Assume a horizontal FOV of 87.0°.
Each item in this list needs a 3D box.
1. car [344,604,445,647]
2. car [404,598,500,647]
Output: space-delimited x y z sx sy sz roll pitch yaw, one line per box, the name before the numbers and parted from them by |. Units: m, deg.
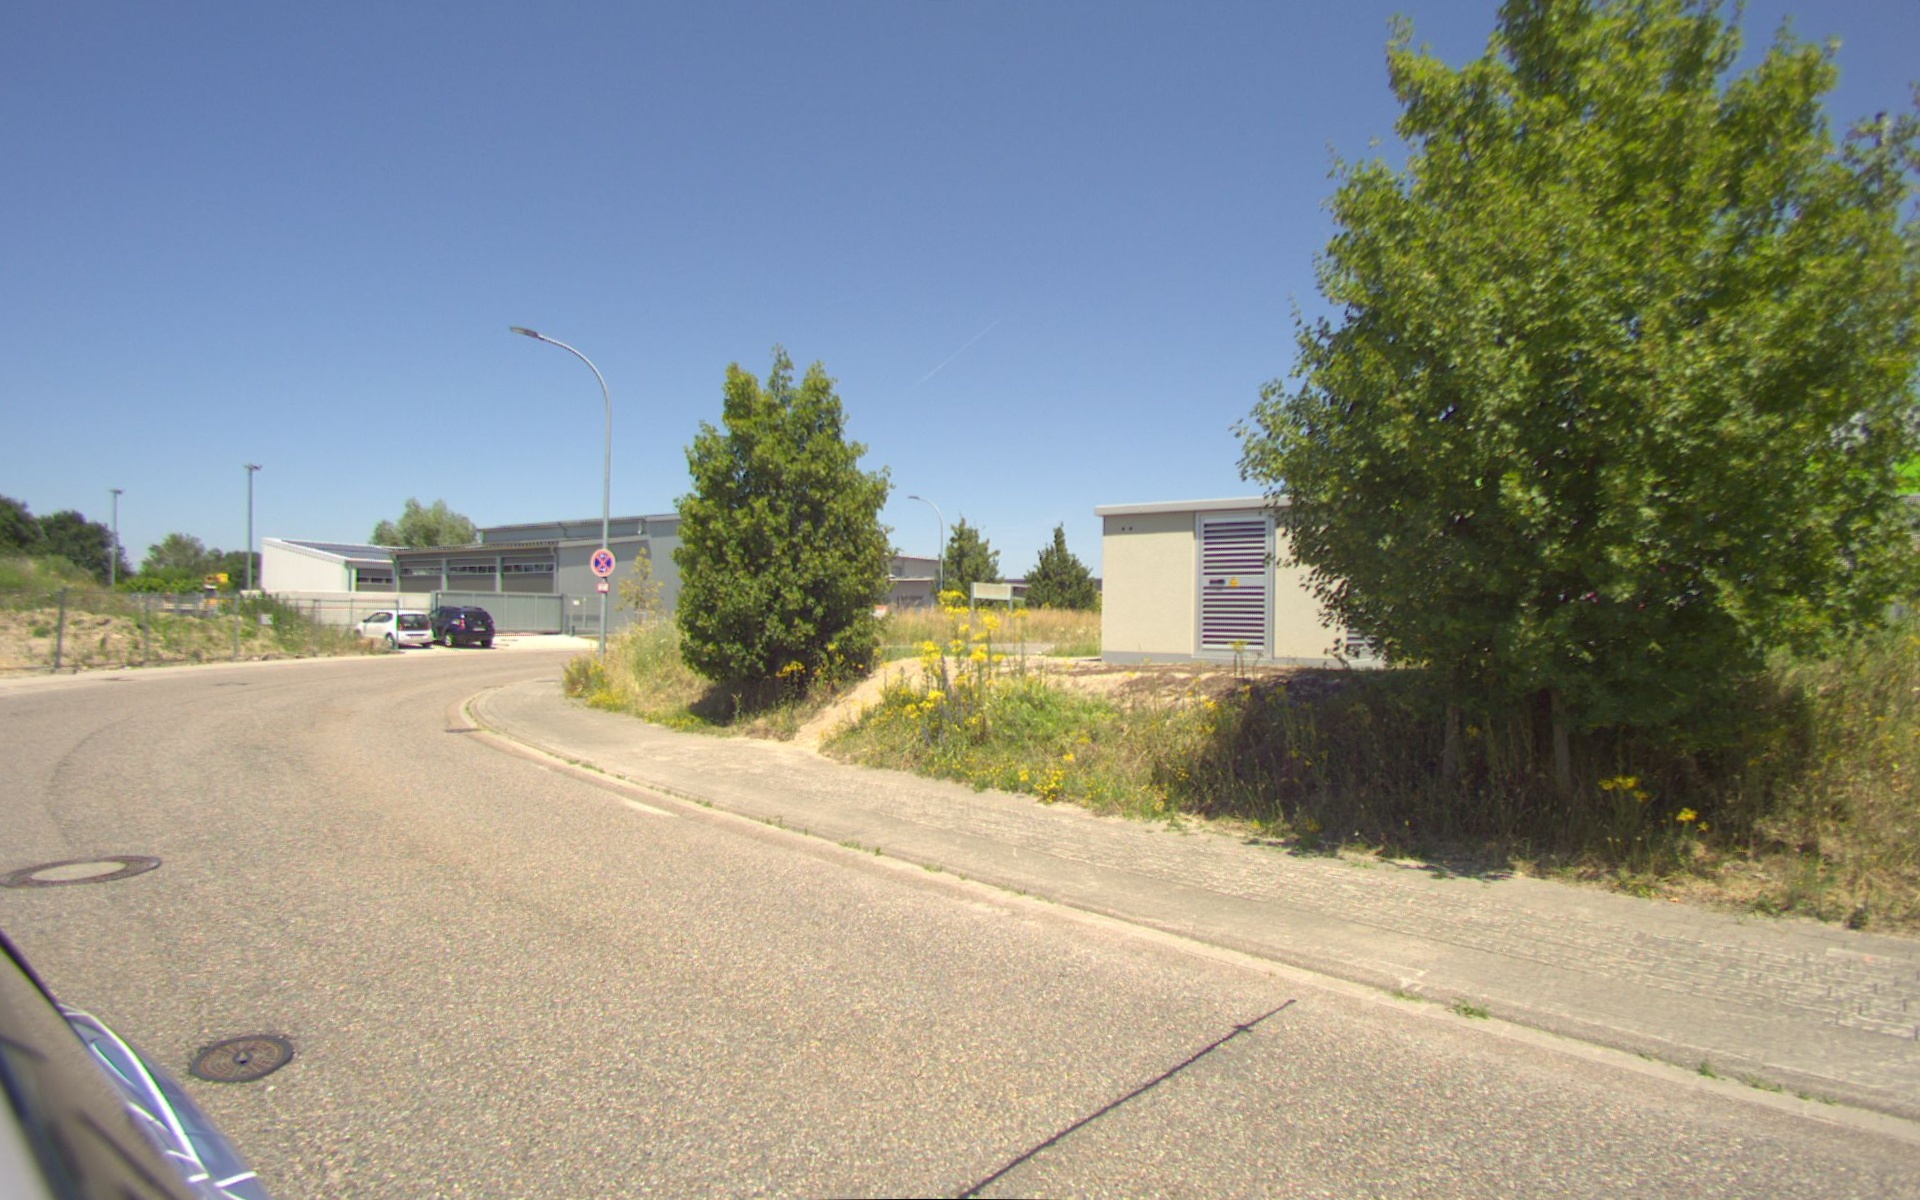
car | -22.822 0.995 40.815 4.012 1.473 1.871 3 0 34
car | -21.509 0.927 42.794 4.013 1.667 1.836 5 1 34
